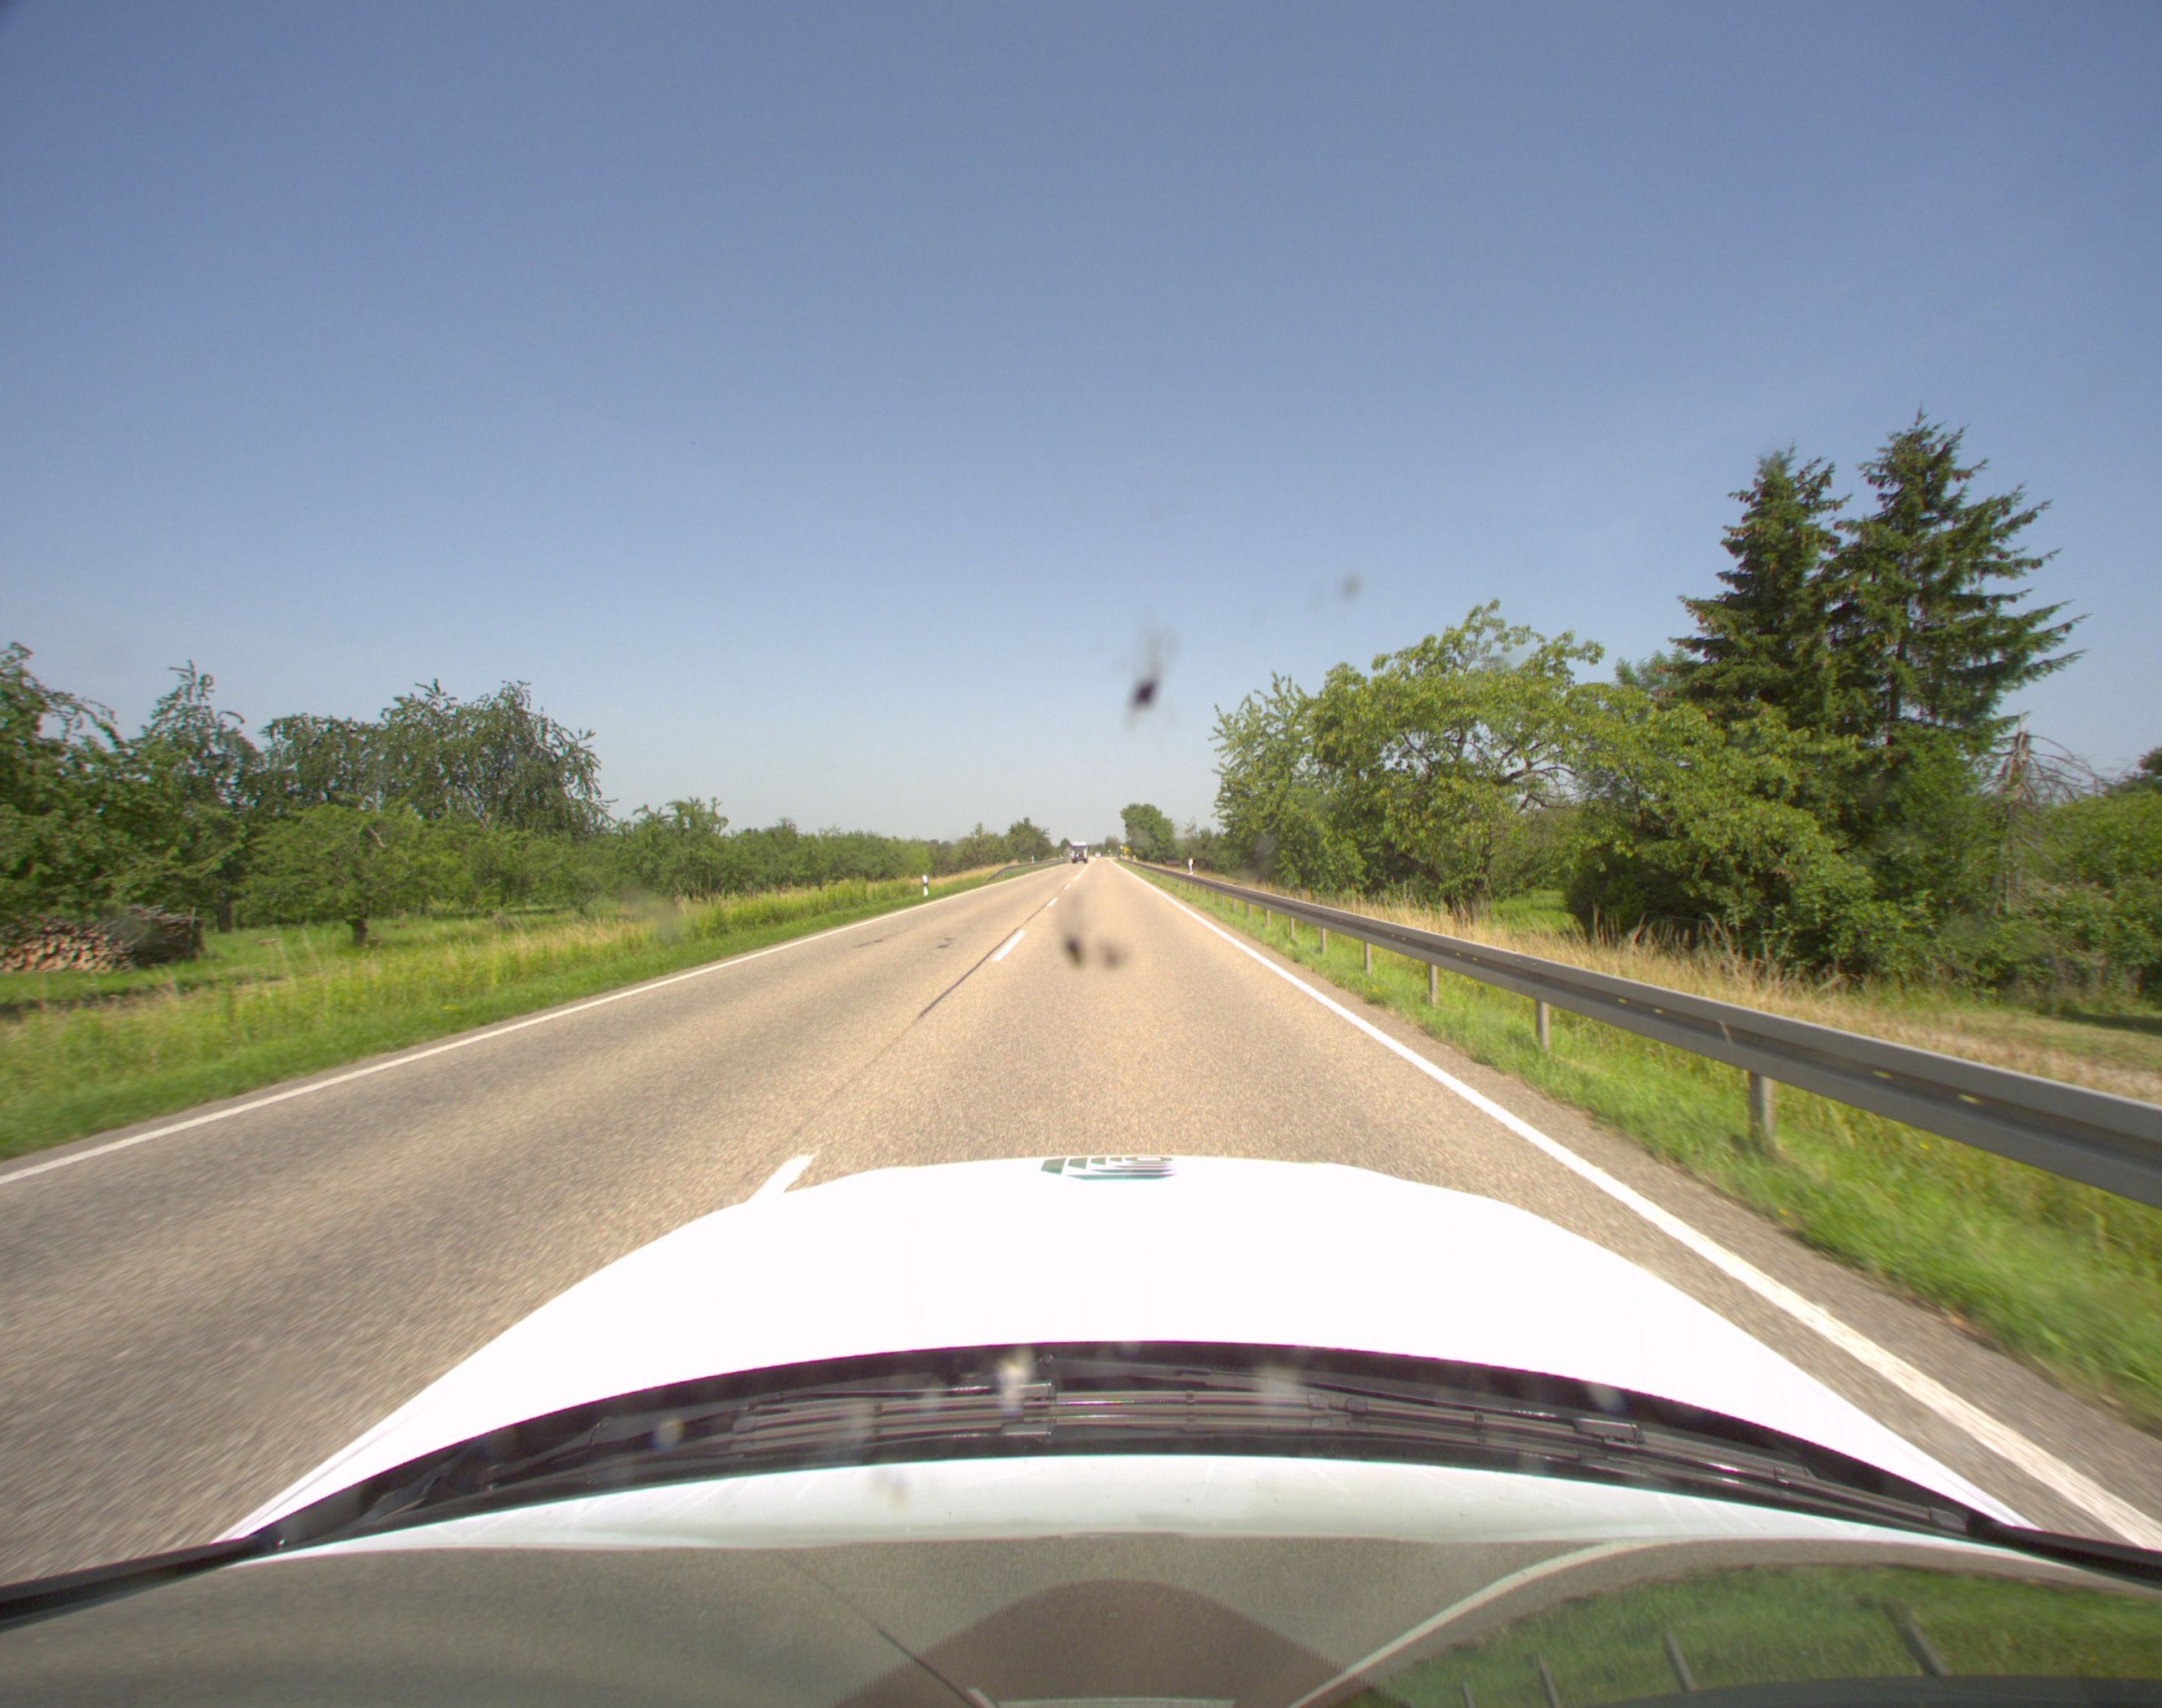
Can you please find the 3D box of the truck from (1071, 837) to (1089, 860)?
[{"bbox_3d":[-0.110,-0.856,135.986,2.718,3.672,9.384,-1,-1,1],"label":"truck"}]
